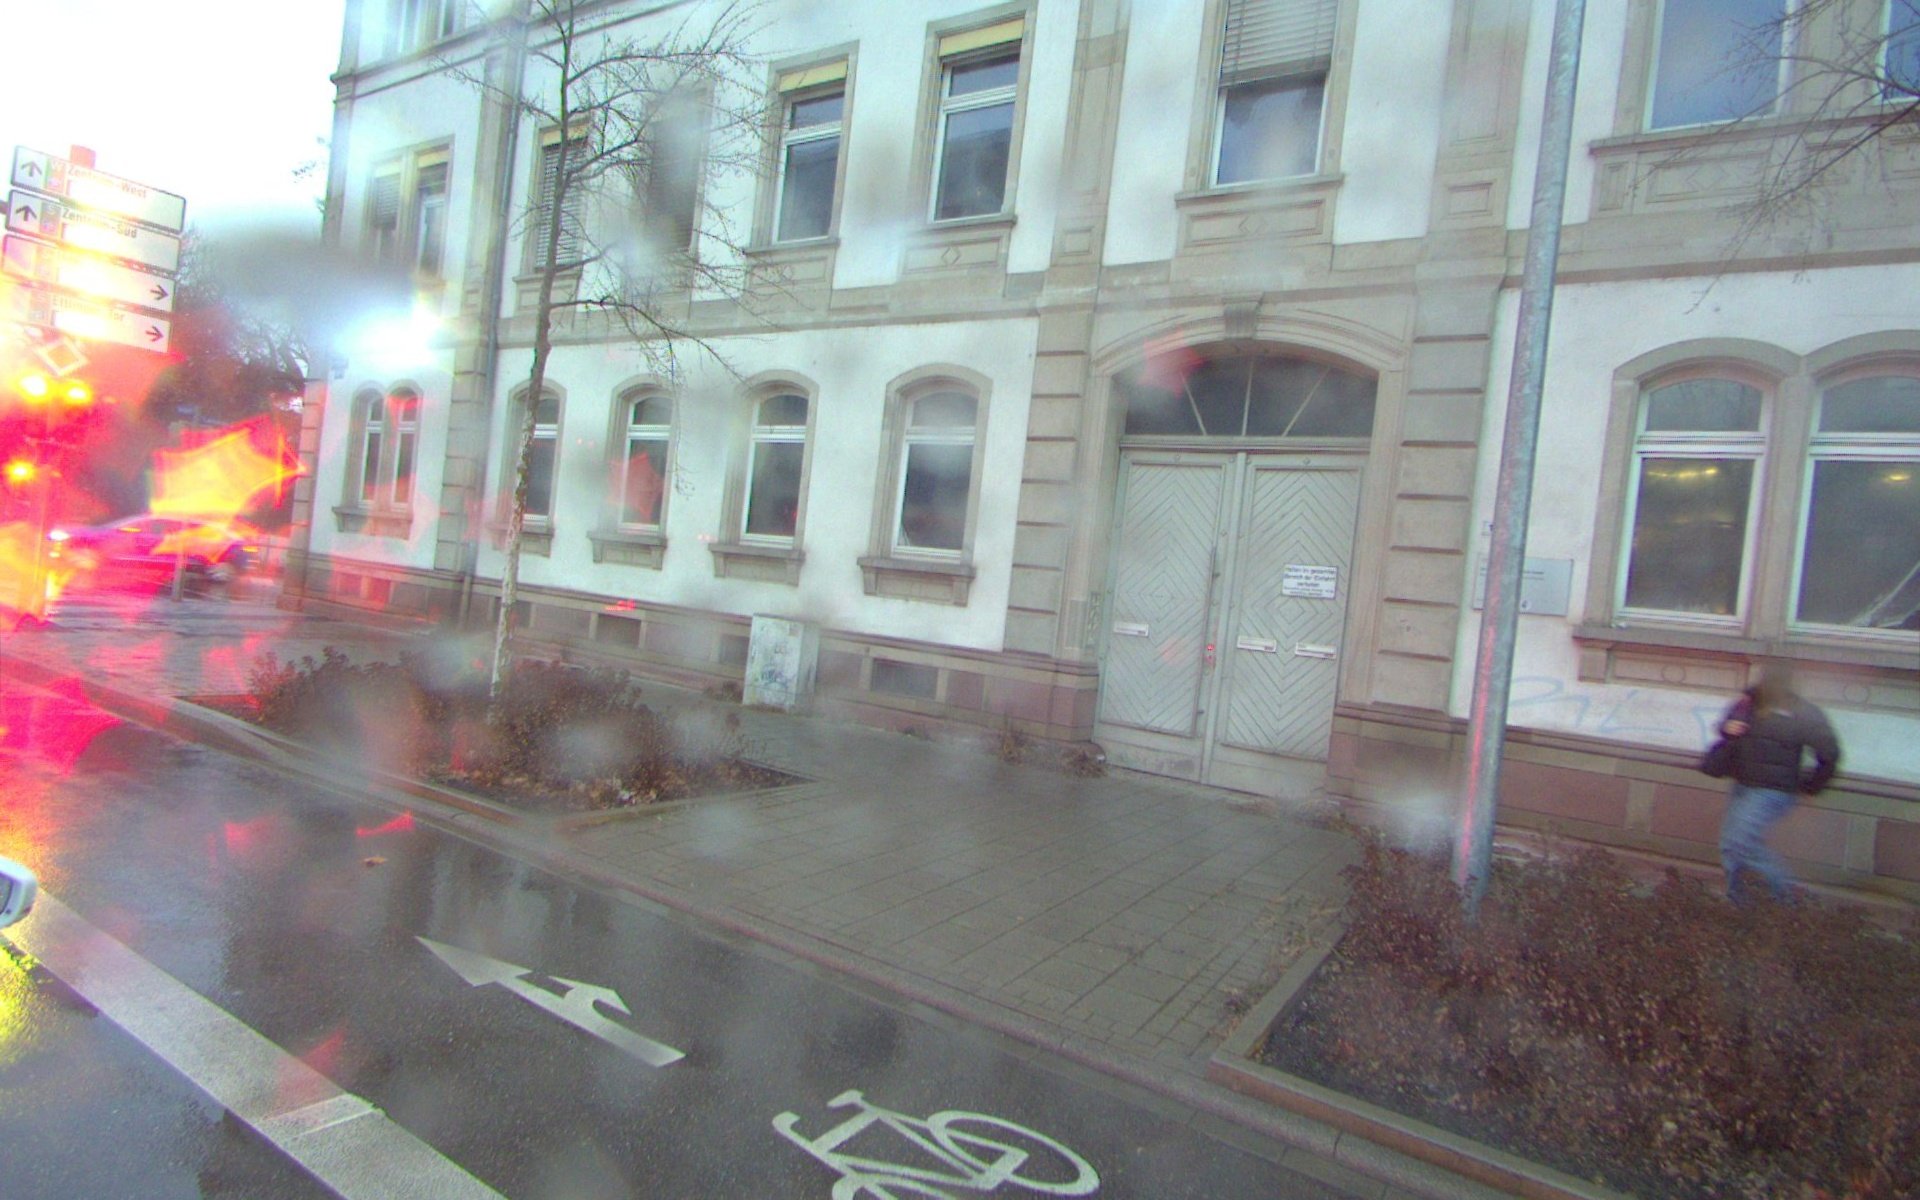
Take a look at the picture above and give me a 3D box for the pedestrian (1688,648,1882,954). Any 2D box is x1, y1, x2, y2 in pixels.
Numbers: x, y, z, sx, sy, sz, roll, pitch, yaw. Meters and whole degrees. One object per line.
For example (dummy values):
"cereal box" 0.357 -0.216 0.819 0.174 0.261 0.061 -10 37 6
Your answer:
"pedestrian" 5.154 1.201 6.354 0.695 1.694 0.868 7 1 33

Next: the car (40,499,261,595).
"car" -19.747 -1.245 24.648 3.976 1.640 1.699 10 -3 -43
